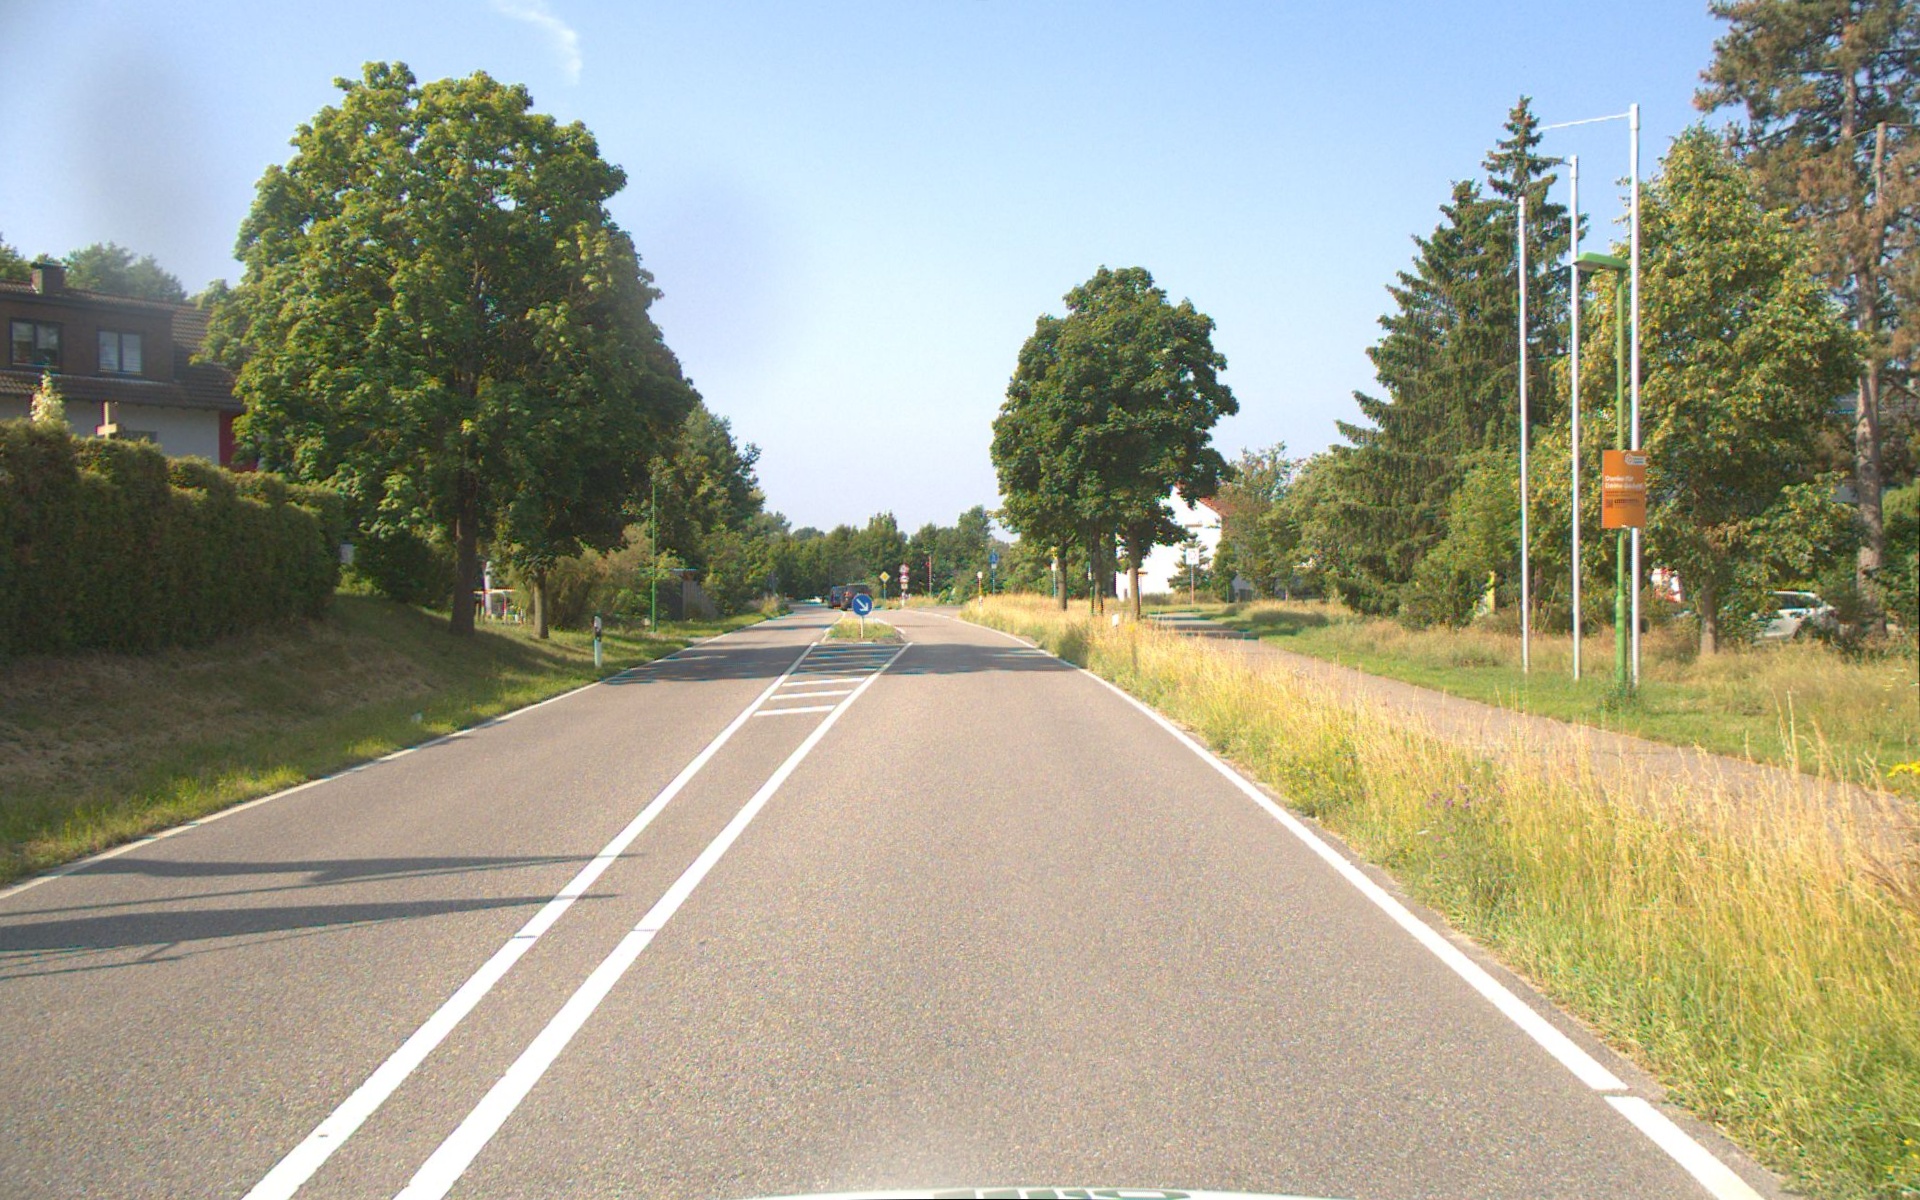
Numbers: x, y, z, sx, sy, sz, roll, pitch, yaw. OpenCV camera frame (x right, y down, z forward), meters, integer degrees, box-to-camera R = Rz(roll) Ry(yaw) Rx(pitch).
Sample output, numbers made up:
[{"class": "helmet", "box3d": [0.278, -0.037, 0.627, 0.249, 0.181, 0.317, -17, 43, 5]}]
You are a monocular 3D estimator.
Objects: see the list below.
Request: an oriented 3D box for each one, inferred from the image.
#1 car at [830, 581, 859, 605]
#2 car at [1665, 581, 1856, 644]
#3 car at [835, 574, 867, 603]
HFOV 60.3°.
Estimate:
[{"class": "car", "box3d": [-8.764, -0.567, 125.371, 1.966, 1.802, 3.994, 0, 1, -7]}, {"class": "car", "box3d": [19.687, 0.291, 40.748, 3.912, 1.459, 1.812, -1, 0, -8]}, {"class": "car", "box3d": [-6.980, -0.754, 105.630, 1.888, 1.802, 3.996, 0, 1, -5]}]
